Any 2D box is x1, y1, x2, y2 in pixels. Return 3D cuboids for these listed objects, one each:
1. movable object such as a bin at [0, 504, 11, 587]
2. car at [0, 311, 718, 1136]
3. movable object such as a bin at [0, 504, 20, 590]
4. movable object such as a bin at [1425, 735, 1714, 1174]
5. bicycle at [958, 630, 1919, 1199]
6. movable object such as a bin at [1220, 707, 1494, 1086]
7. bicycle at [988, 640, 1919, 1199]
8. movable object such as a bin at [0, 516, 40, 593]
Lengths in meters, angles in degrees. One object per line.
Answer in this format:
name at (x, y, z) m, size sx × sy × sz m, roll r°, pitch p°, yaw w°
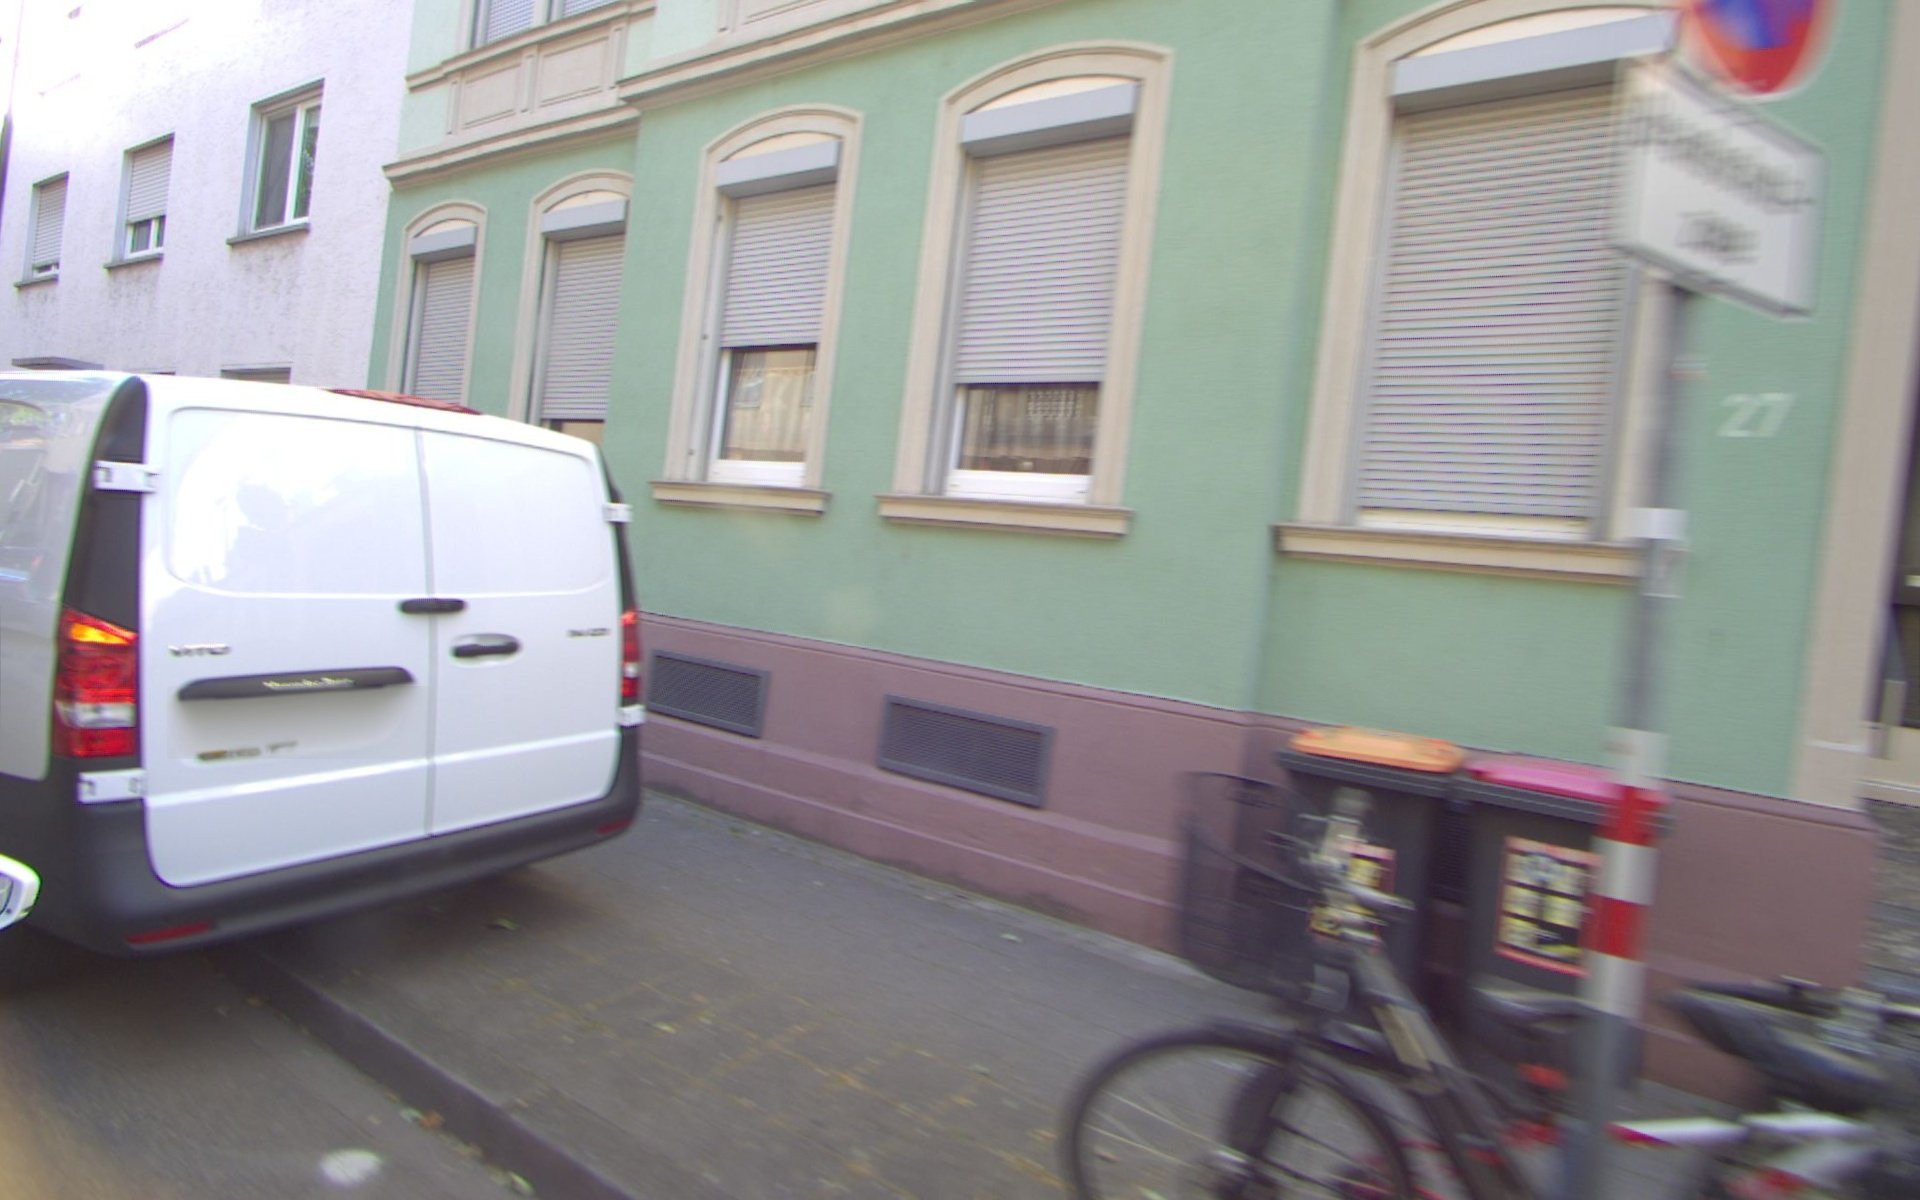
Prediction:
movable object such as a bin at (-13.562, -0.792, 13.763) m, size 0.583 × 1.119 × 0.657 m, roll 7°, pitch 1°, yaw 34°
car at (-3.840, 0.037, 4.640) m, size 5.508 × 1.910 × 1.982 m, roll 7°, pitch 4°, yaw 33°
movable object such as a bin at (-13.112, -0.742, 13.446) m, size 0.560 × 1.136 × 0.628 m, roll 6°, pitch 0°, yaw 34°
movable object such as a bin at (2.014, 1.060, 3.323) m, size 0.632 × 1.109 × 0.797 m, roll 6°, pitch 0°, yaw 35°
bicycle at (1.070, 0.849, 1.528) m, size 2.165 × 1.338 × 0.574 m, roll 7°, pitch 2°, yaw 37°
movable object such as a bin at (1.480, 0.996, 3.708) m, size 0.663 × 1.102 × 0.812 m, roll 6°, pitch 0°, yaw 35°
bicycle at (1.162, 0.863, 2.251) m, size 2.166 × 1.288 × 0.574 m, roll 7°, pitch 3°, yaw 37°
movable object such as a bin at (-12.567, -0.618, 13.156) m, size 0.595 × 0.946 × 0.606 m, roll 7°, pitch 1°, yaw 34°
